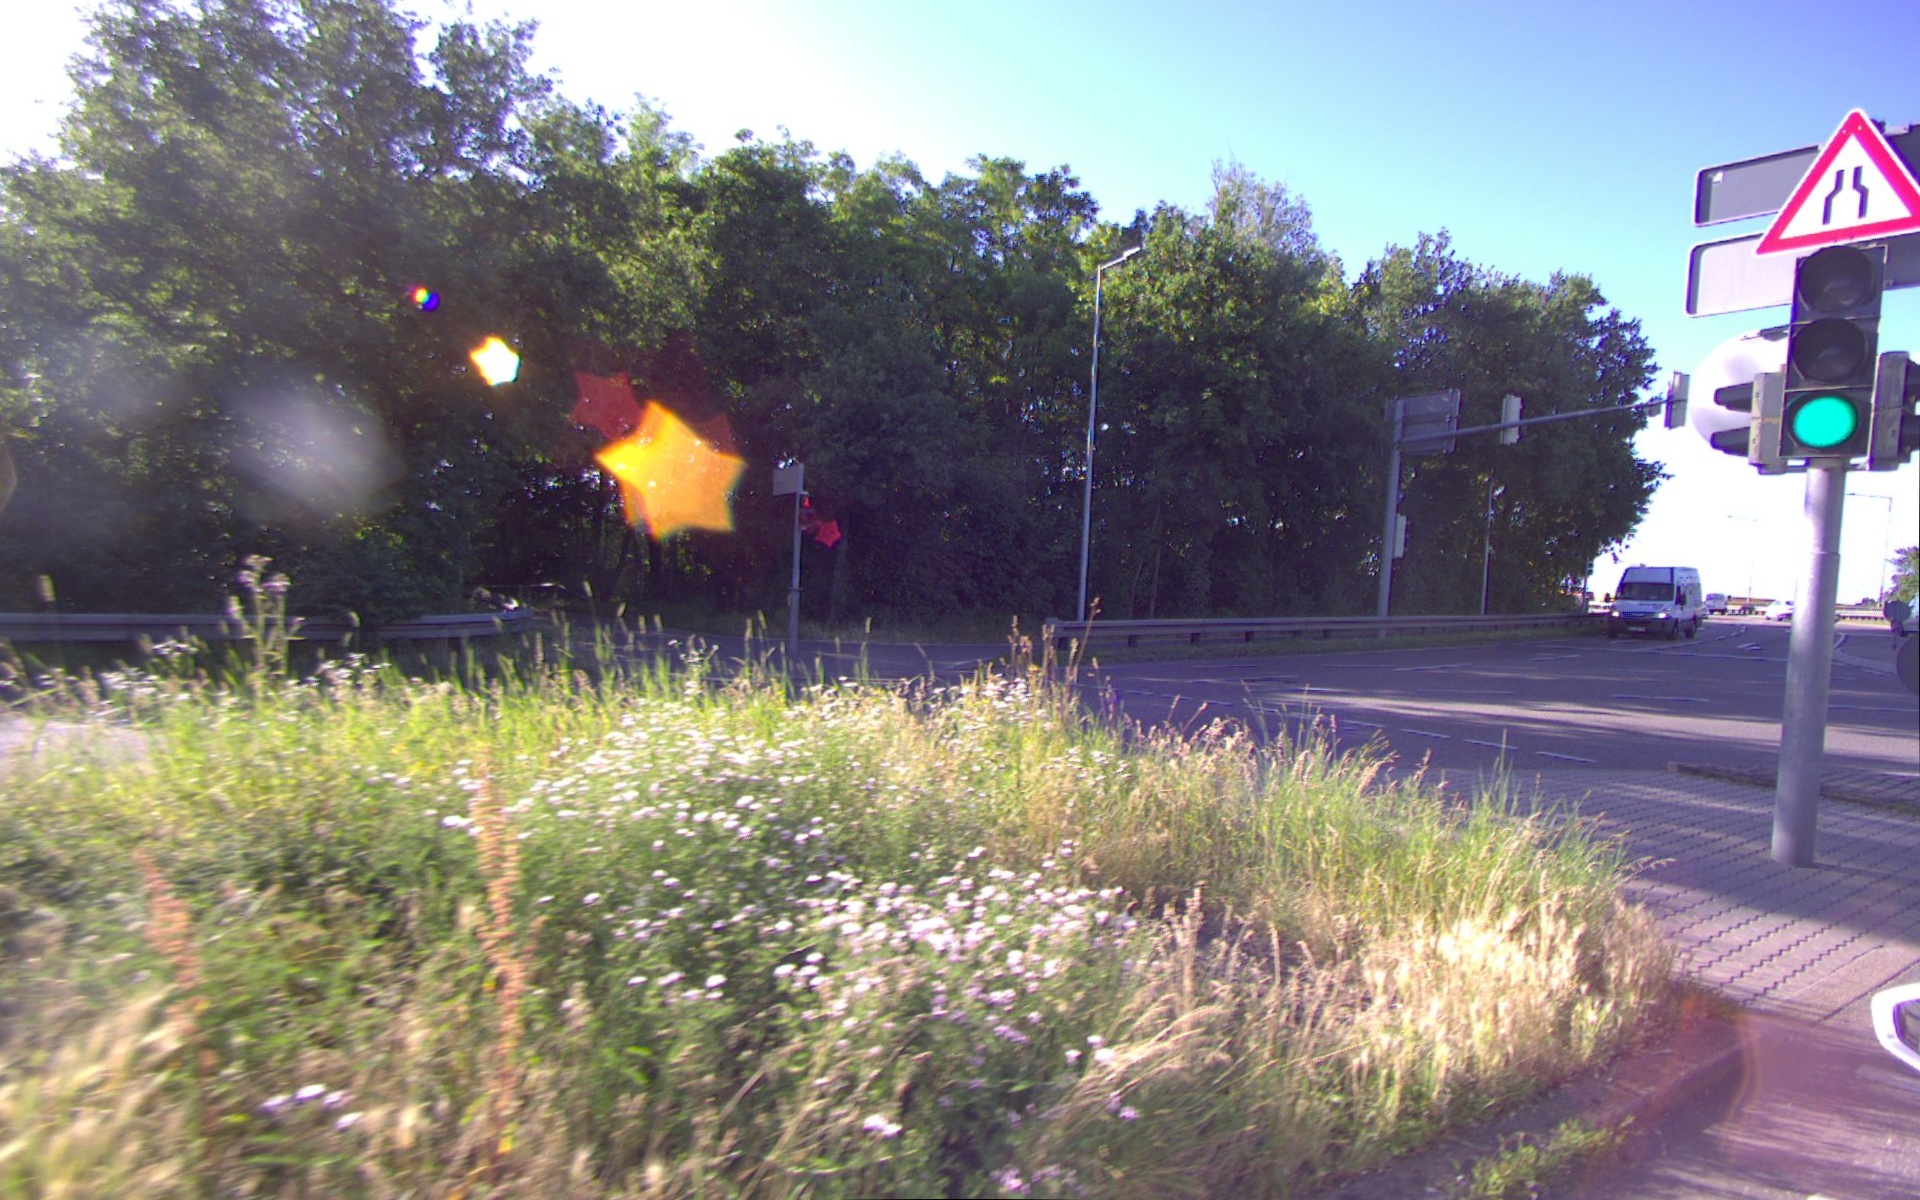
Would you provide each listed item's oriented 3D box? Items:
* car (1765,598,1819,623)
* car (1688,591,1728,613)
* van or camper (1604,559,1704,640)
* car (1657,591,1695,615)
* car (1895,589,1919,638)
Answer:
[{"bbox_3d":[55.482,0.679,67.067,1.939,1.494,4.148,3,2,28],"label":"car"},{"bbox_3d":[63.598,0.126,85.451,1.938,1.721,3.995,3,2,26],"label":"car"},{"bbox_3d":[25.640,-0.032,36.989,2.027,2.709,6.893,2,1,43],"label":"van or camper"},{"bbox_3d":[50.007,0.167,70.173,1.842,1.494,3.899,3,3,32],"label":"car"},{"bbox_3d":[38.909,0.559,39.778,1.966,1.905,4.236,4,2,34],"label":"car"}]
